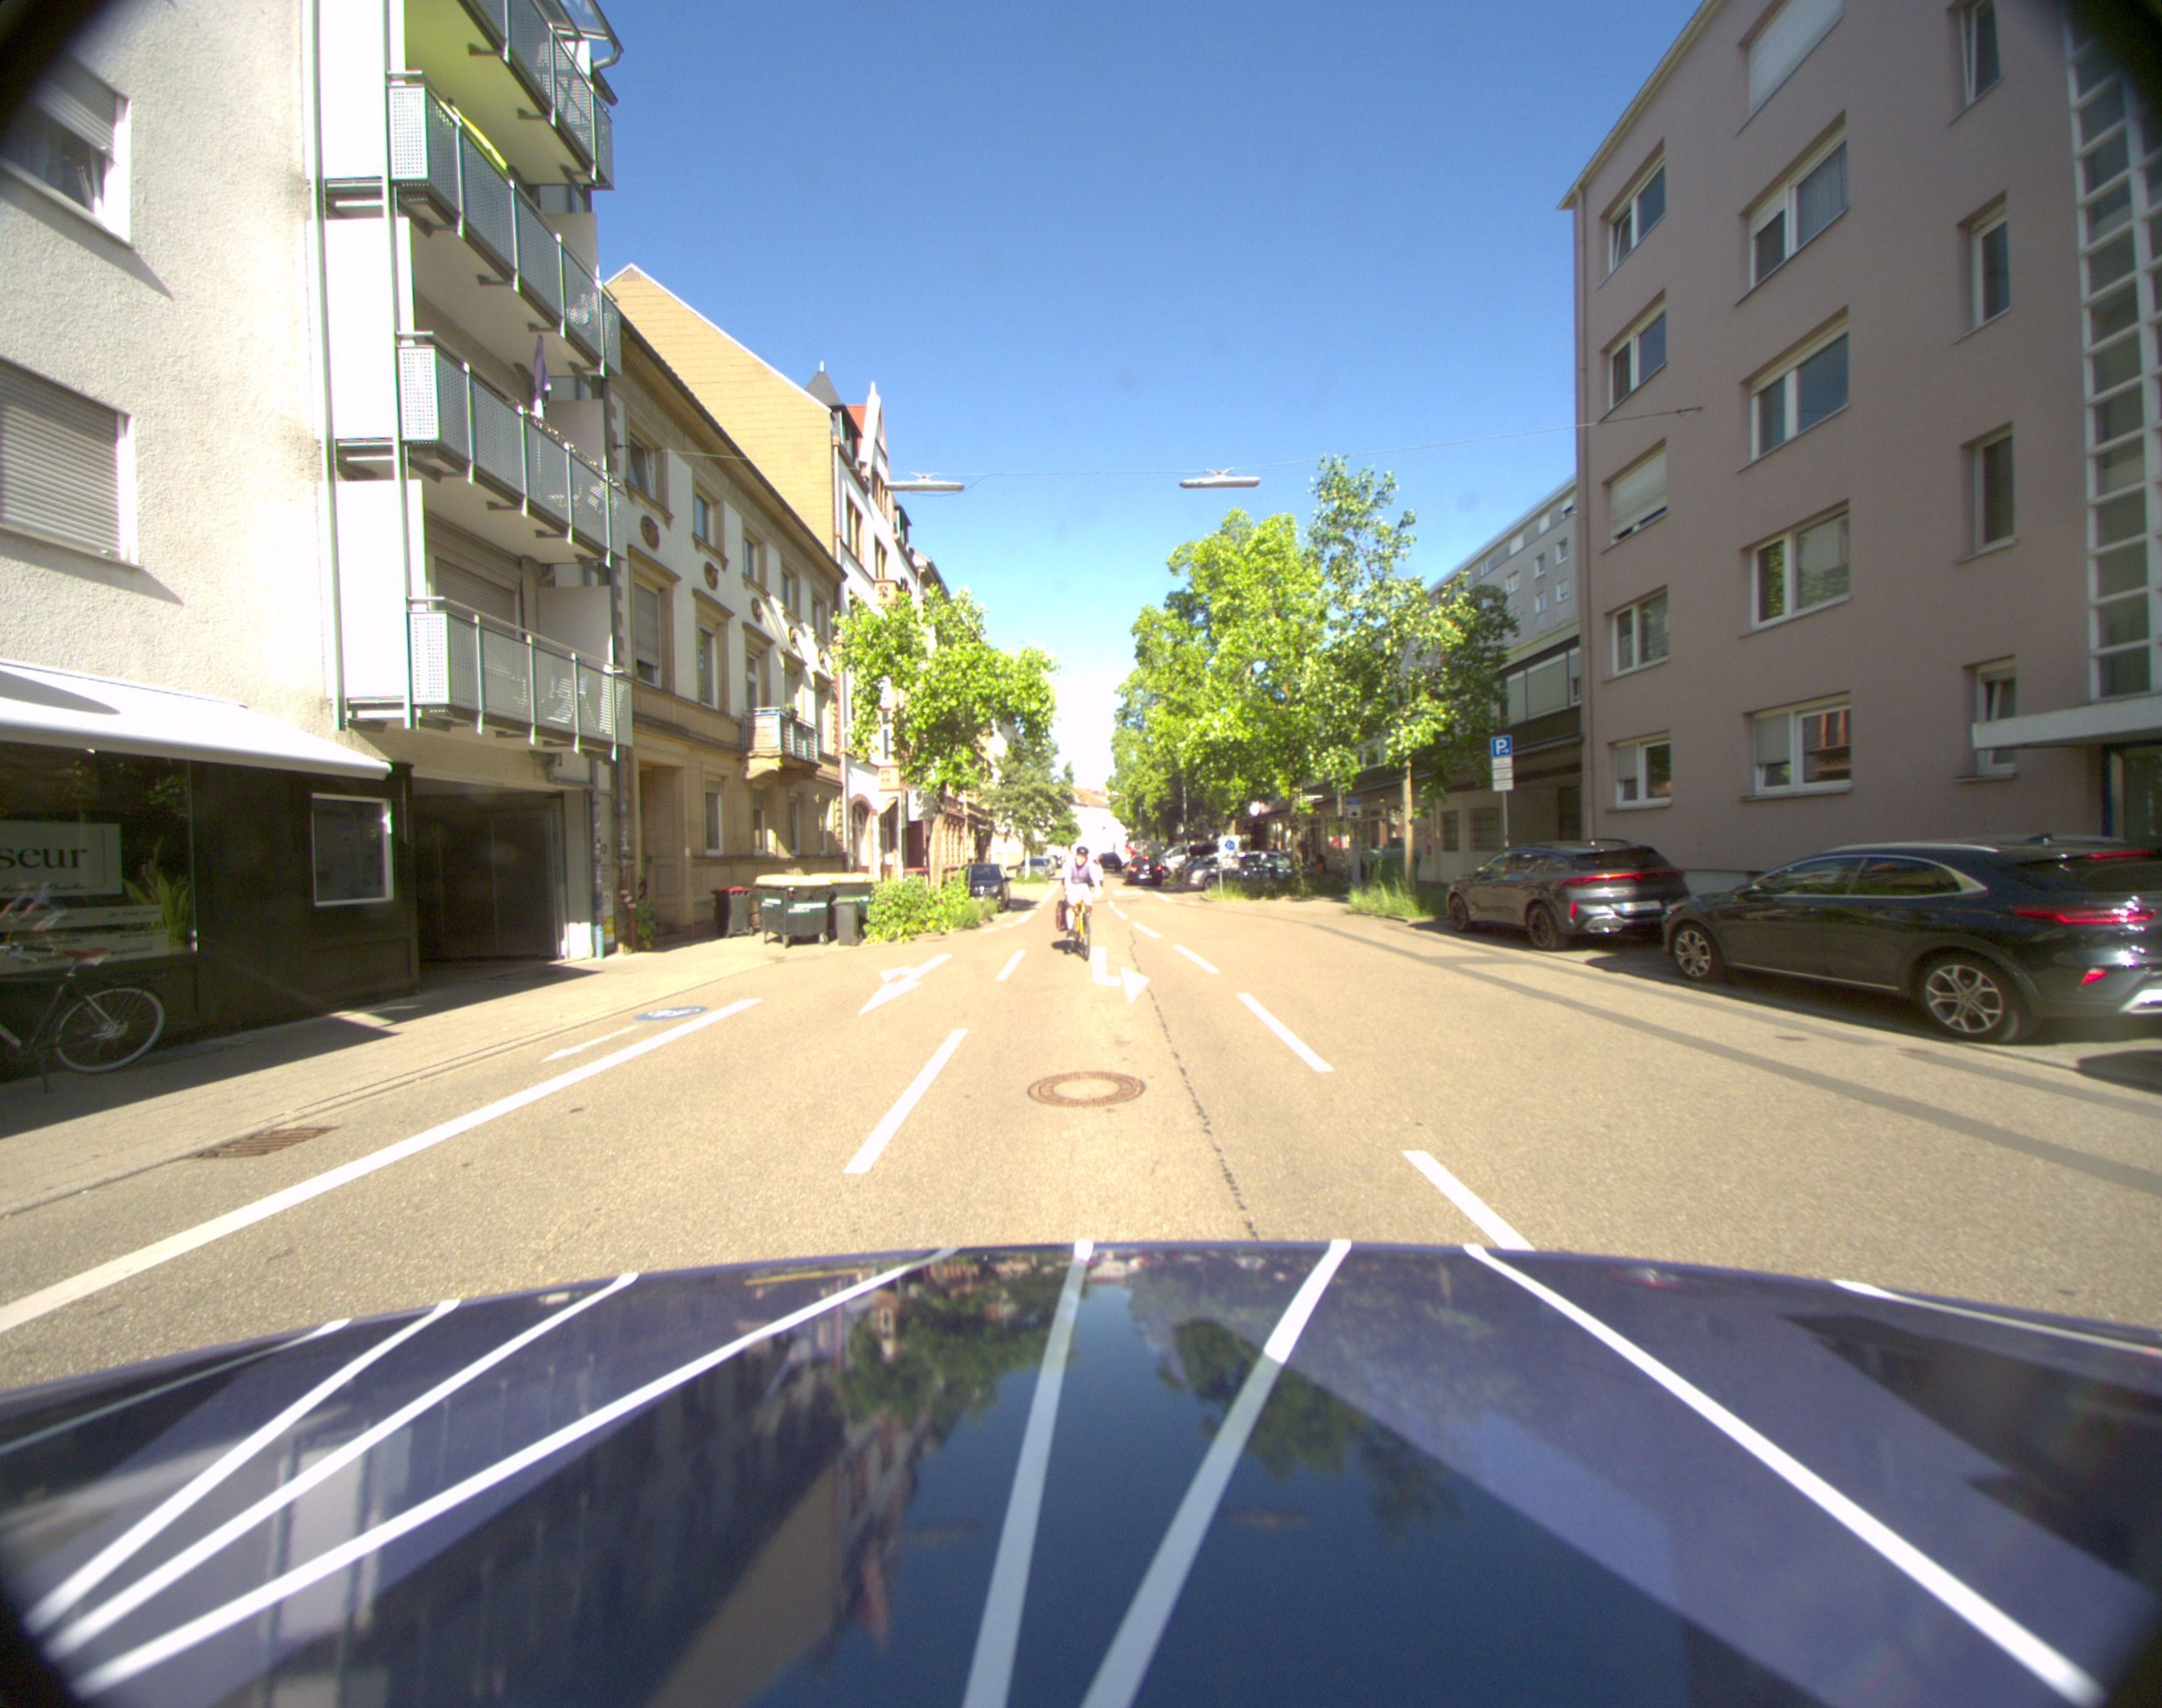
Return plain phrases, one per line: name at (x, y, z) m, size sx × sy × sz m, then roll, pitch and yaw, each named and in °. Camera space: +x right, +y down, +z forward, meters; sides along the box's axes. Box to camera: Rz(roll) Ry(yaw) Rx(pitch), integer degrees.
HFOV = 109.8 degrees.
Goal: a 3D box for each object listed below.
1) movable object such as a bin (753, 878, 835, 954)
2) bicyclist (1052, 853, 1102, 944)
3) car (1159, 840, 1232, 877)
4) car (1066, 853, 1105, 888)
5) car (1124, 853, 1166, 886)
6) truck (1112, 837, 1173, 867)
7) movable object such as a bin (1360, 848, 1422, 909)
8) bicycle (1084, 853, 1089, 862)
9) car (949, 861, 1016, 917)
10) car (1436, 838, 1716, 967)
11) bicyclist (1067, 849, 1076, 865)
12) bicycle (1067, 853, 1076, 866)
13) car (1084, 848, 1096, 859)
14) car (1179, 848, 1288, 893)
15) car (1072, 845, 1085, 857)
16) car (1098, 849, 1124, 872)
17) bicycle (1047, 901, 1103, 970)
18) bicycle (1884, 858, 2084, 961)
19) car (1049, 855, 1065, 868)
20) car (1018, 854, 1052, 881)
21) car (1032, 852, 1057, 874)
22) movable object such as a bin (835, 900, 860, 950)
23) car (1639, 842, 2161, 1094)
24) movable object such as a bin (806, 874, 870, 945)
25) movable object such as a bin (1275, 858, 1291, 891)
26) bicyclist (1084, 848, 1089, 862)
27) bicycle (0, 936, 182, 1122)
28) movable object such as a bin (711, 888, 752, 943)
movable object such as a bin at (-5.582, 1.162, 14.774) m, size 1.212 × 1.318 × 1.052 m, roll 2°, pitch 3°, yaw 42°
bicyclist at (-0.076, 0.673, 11.867) m, size 0.610 × 1.338 × 1.017 m, roll -2°, pitch 0°, yaw -8°
car at (6.714, 0.264, 44.772) m, size 3.997 × 2.020 × 2.000 m, roll -2°, pitch 1°, yaw 1°
car at (0.284, 0.770, 37.201) m, size 1.769 × 1.528 × 3.786 m, roll -2°, pitch 0°, yaw 2°
car at (3.096, 0.726, 37.592) m, size 1.867 × 1.455 × 4.000 m, roll -2°, pitch 0°, yaw 3°
truck at (5.794, -0.192, 71.695) m, size 5.322 × 2.581 × 1.998 m, roll -2°, pitch 1°, yaw -9°
movable object such as a bin at (8.141, 0.635, 19.988) m, size 1.247 × 1.536 × 1.019 m, roll -2°, pitch 1°, yaw 5°
bicycle at (0.739, 0.514, 102.365) m, size 0.570 × 1.139 × 2.259 m, roll -3°, pitch 1°, yaw 1°
car at (-2.963, 1.014, 23.362) m, size 1.551 × 1.483 × 3.351 m, roll -2°, pitch 0°, yaw 0°
car at (7.596, 0.644, 12.252) m, size 1.821 × 1.583 × 4.141 m, roll -5°, pitch 0°, yaw 2°
bicyclist at (-0.915, 0.286, 74.127) m, size 0.748 × 1.588 × 0.613 m, roll -3°, pitch 1°, yaw 1°
bicycle at (-0.906, 0.502, 74.121) m, size 0.778 × 1.139 × 2.259 m, roll -3°, pitch 1°, yaw 1°
car at (1.402, -0.044, 117.353) m, size 1.826 × 1.617 × 4.000 m, roll -2°, pitch 0°, yaw 1°
car at (6.096, 0.635, 30.664) m, size 3.997 × 1.665 × 2.000 m, roll -2°, pitch 1°, yaw 1°
car at (-0.453, -0.515, 126.597) m, size 1.998 × 2.002 × 4.000 m, roll -2°, pitch 0°, yaw 1°
car at (2.424, 0.485, 62.155) m, size 1.994 × 1.599 × 4.259 m, roll -3°, pitch 3°, yaw 1°
bicycle at (-0.124, 1.227, 11.788) m, size 0.612 × 0.876 × 1.813 m, roll -1°, pitch -1°, yaw -8°
bicycle at (10.766, 0.614, 9.149) m, size 0.391 × 1.070 × 1.650 m, roll -6°, pitch 1°, yaw 2°
car at (-2.715, 0.849, 85.961) m, size 1.653 × 1.447 × 3.290 m, roll -2°, pitch 0°, yaw 1°
car at (-2.736, 0.768, 45.884) m, size 1.759 × 1.492 × 3.949 m, roll -2°, pitch 0°, yaw 0°
car at (-2.623, 0.656, 55.199) m, size 1.653 × 1.483 × 3.290 m, roll -2°, pitch 0°, yaw 0°
movable object such as a bin at (-4.572, 1.385, 14.885) m, size 0.401 × 0.916 × 0.484 m, roll 0°, pitch 2°, yaw -7°
car at (7.521, 0.706, 6.912) m, size 1.821 × 1.499 × 4.245 m, roll -4°, pitch 0°, yaw 2°
movable object such as a bin at (-5.079, 1.124, 15.851) m, size 0.960 × 1.341 × 1.066 m, roll -1°, pitch 2°, yaw -38°
movable object such as a bin at (7.627, 0.783, 28.671) m, size 0.488 × 1.218 × 0.409 m, roll -2°, pitch 1°, yaw 1°
bicyclist at (0.717, 0.134, 102.364) m, size 0.578 × 1.911 × 0.613 m, roll -3°, pitch 1°, yaw 1°
bicycle at (-7.741, 1.283, 5.443) m, size 0.402 × 1.171 × 1.792 m, roll -2°, pitch 0°, yaw 1°
movable object such as a bin at (-7.313, 1.274, 15.889) m, size 0.615 × 1.075 × 0.568 m, roll 2°, pitch 3°, yaw 42°
